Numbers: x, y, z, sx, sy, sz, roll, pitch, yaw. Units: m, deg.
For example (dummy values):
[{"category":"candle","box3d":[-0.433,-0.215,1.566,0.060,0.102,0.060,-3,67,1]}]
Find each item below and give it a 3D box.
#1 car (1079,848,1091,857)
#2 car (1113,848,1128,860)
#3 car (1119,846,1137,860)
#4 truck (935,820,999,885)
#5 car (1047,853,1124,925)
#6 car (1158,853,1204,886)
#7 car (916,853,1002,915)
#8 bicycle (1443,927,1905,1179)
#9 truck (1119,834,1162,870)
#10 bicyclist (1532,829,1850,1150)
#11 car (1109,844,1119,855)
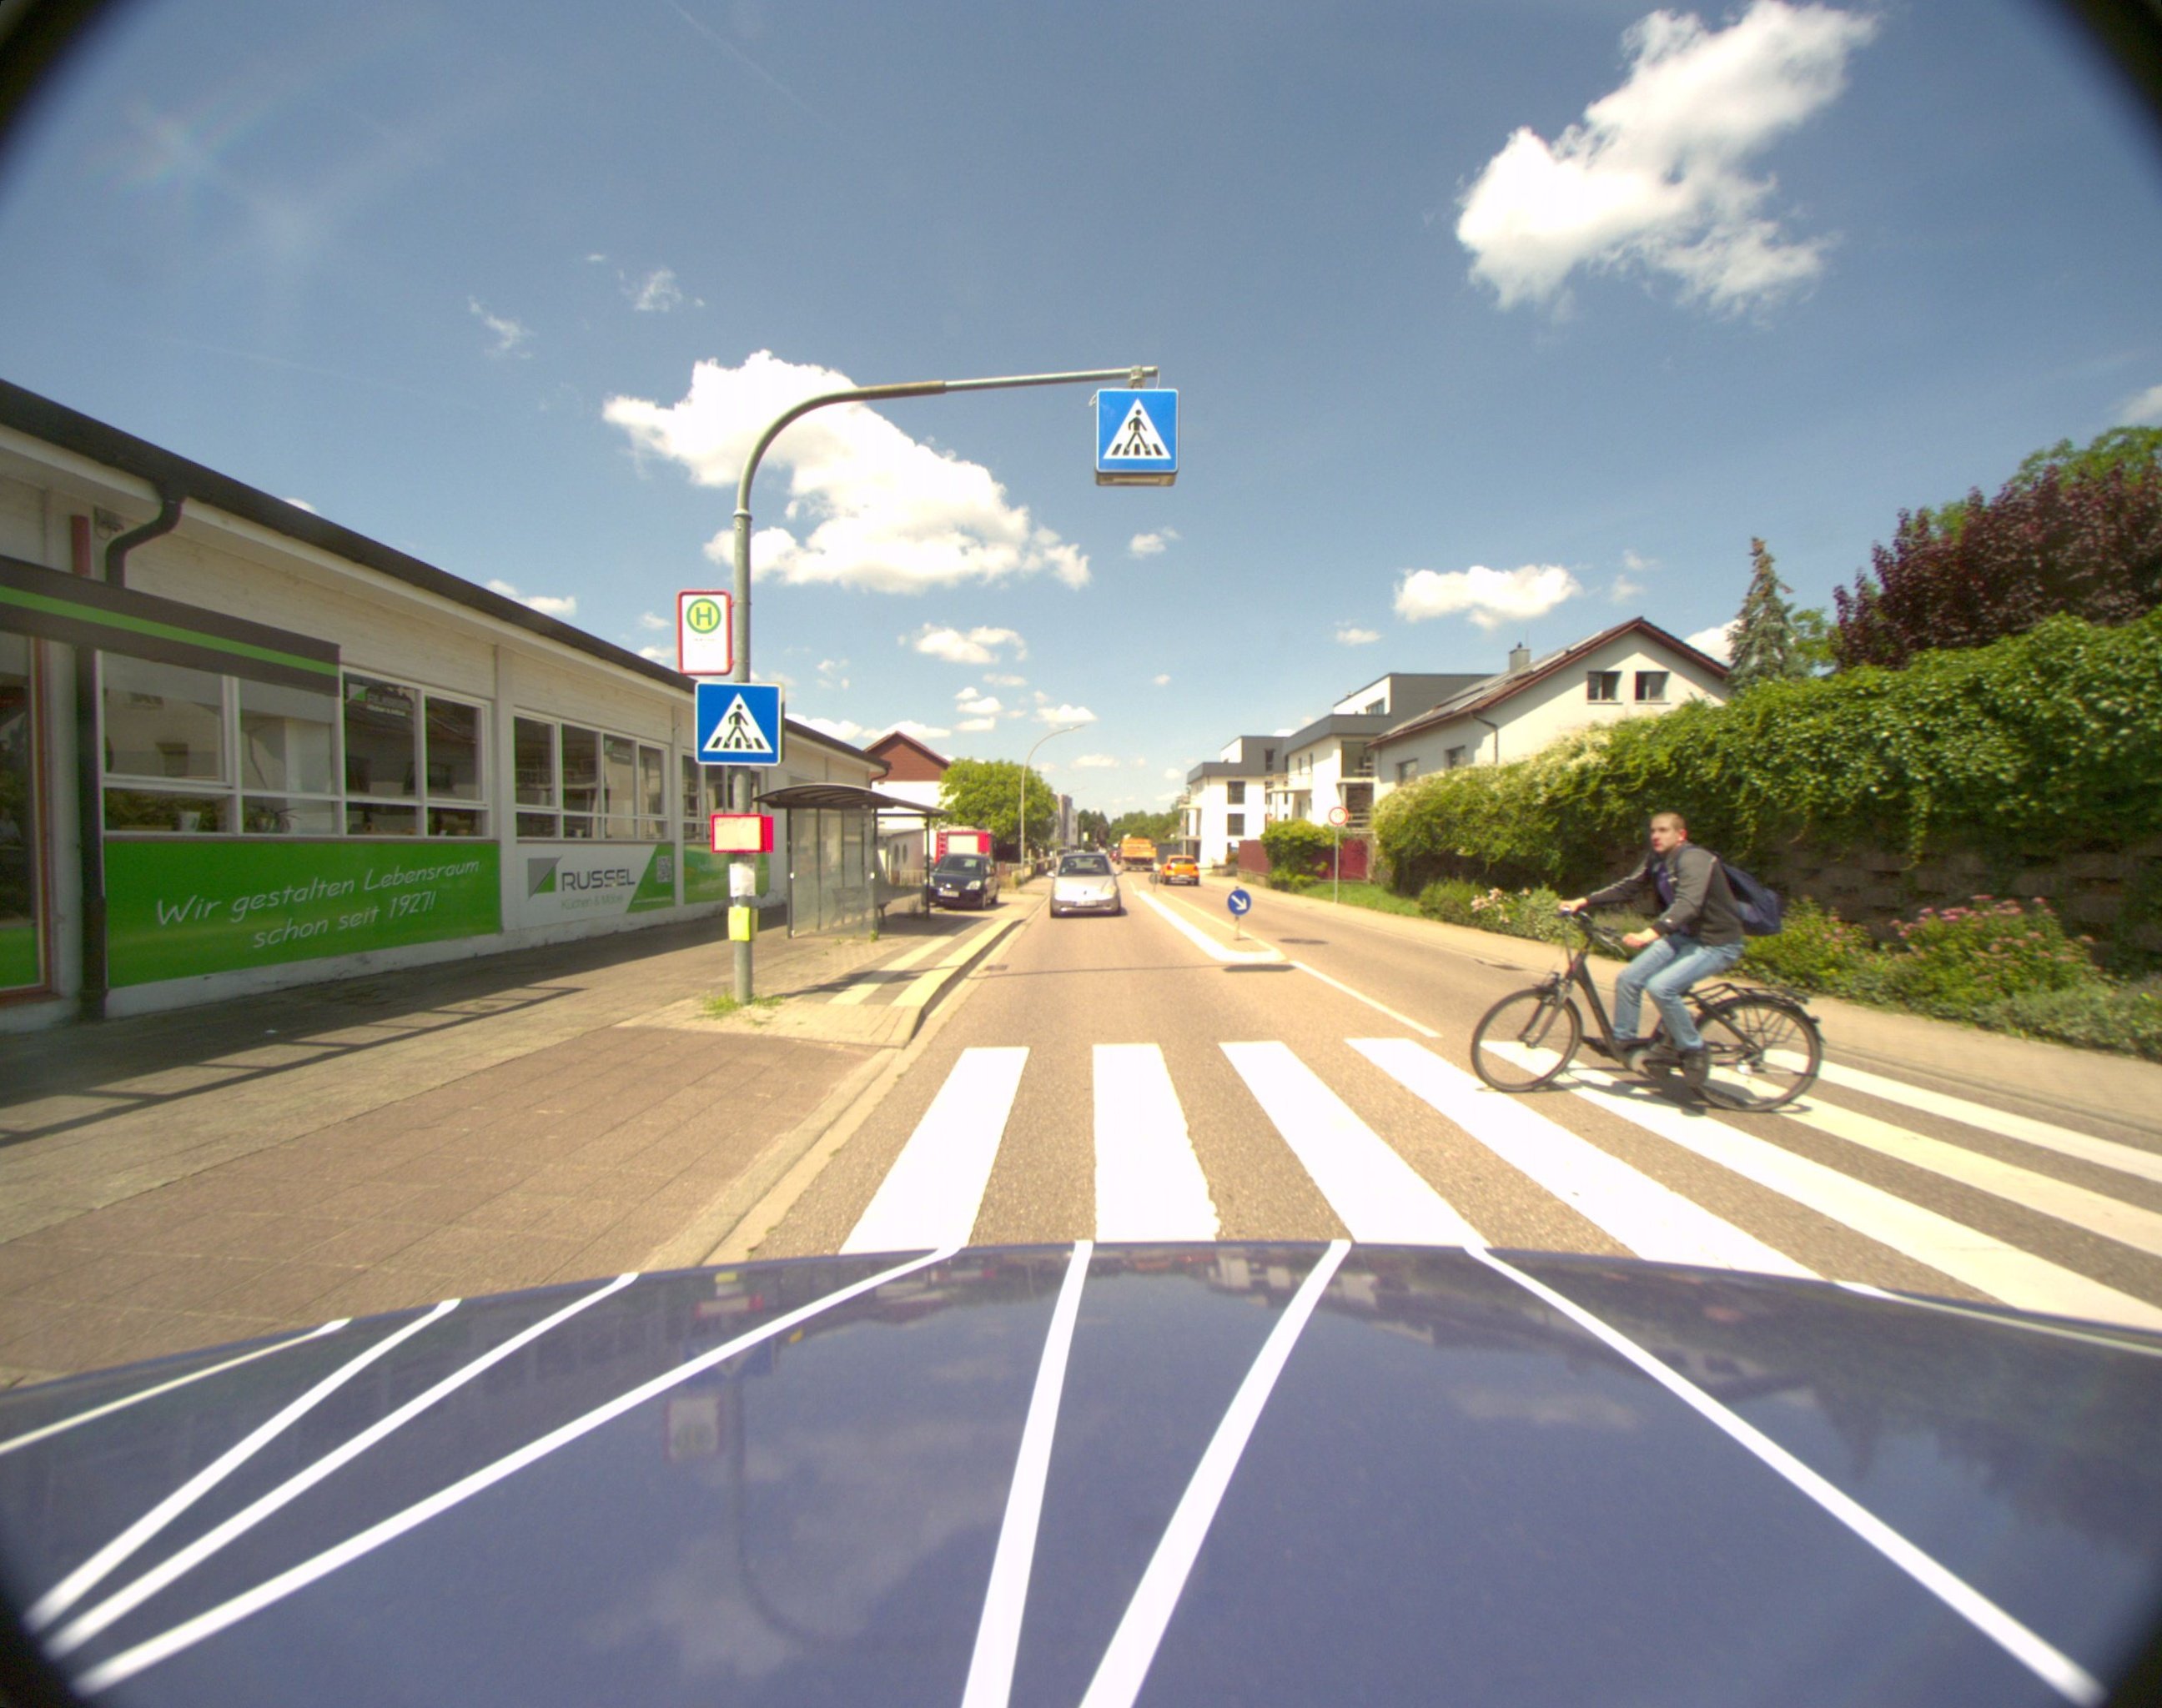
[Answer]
[{"category":"car","box3d":[0.683,-0.309,131.638,1.729,1.484,3.760,1,1,3]},{"category":"car","box3d":[5.109,-0.059,99.196,1.735,1.509,3.613,1,1,0]},{"category":"car","box3d":[5.195,-0.090,84.960,1.735,1.509,3.613,1,1,0]},{"category":"truck","box3d":[-5.250,-0.094,35.930,2.580,2.745,6.330,1,1,-5]},{"category":"car","box3d":[0.107,0.809,19.585,1.723,1.590,3.759,-2,1,0]},{"category":"car","box3d":[4.879,0.721,37.442,1.799,1.480,3.613,1,1,0]},{"category":"car","box3d":[-3.266,0.752,21.009,1.729,1.484,3.759,1,1,0]},{"category":"bicycle","box3d":[3.244,1.062,4.344,1.941,1.158,0.806,1,1,4]},{"category":"truck","box3d":[4.765,-0.185,62.005,2.864,2.695,6.790,1,1,0]},{"category":"bicyclist","box3d":[3.361,0.692,4.305,1.110,1.620,0.806,1,1,4]},{"category":"car","box3d":[5.948,-0.789,137.946,1.735,1.863,3.613,1,1,0]}]
